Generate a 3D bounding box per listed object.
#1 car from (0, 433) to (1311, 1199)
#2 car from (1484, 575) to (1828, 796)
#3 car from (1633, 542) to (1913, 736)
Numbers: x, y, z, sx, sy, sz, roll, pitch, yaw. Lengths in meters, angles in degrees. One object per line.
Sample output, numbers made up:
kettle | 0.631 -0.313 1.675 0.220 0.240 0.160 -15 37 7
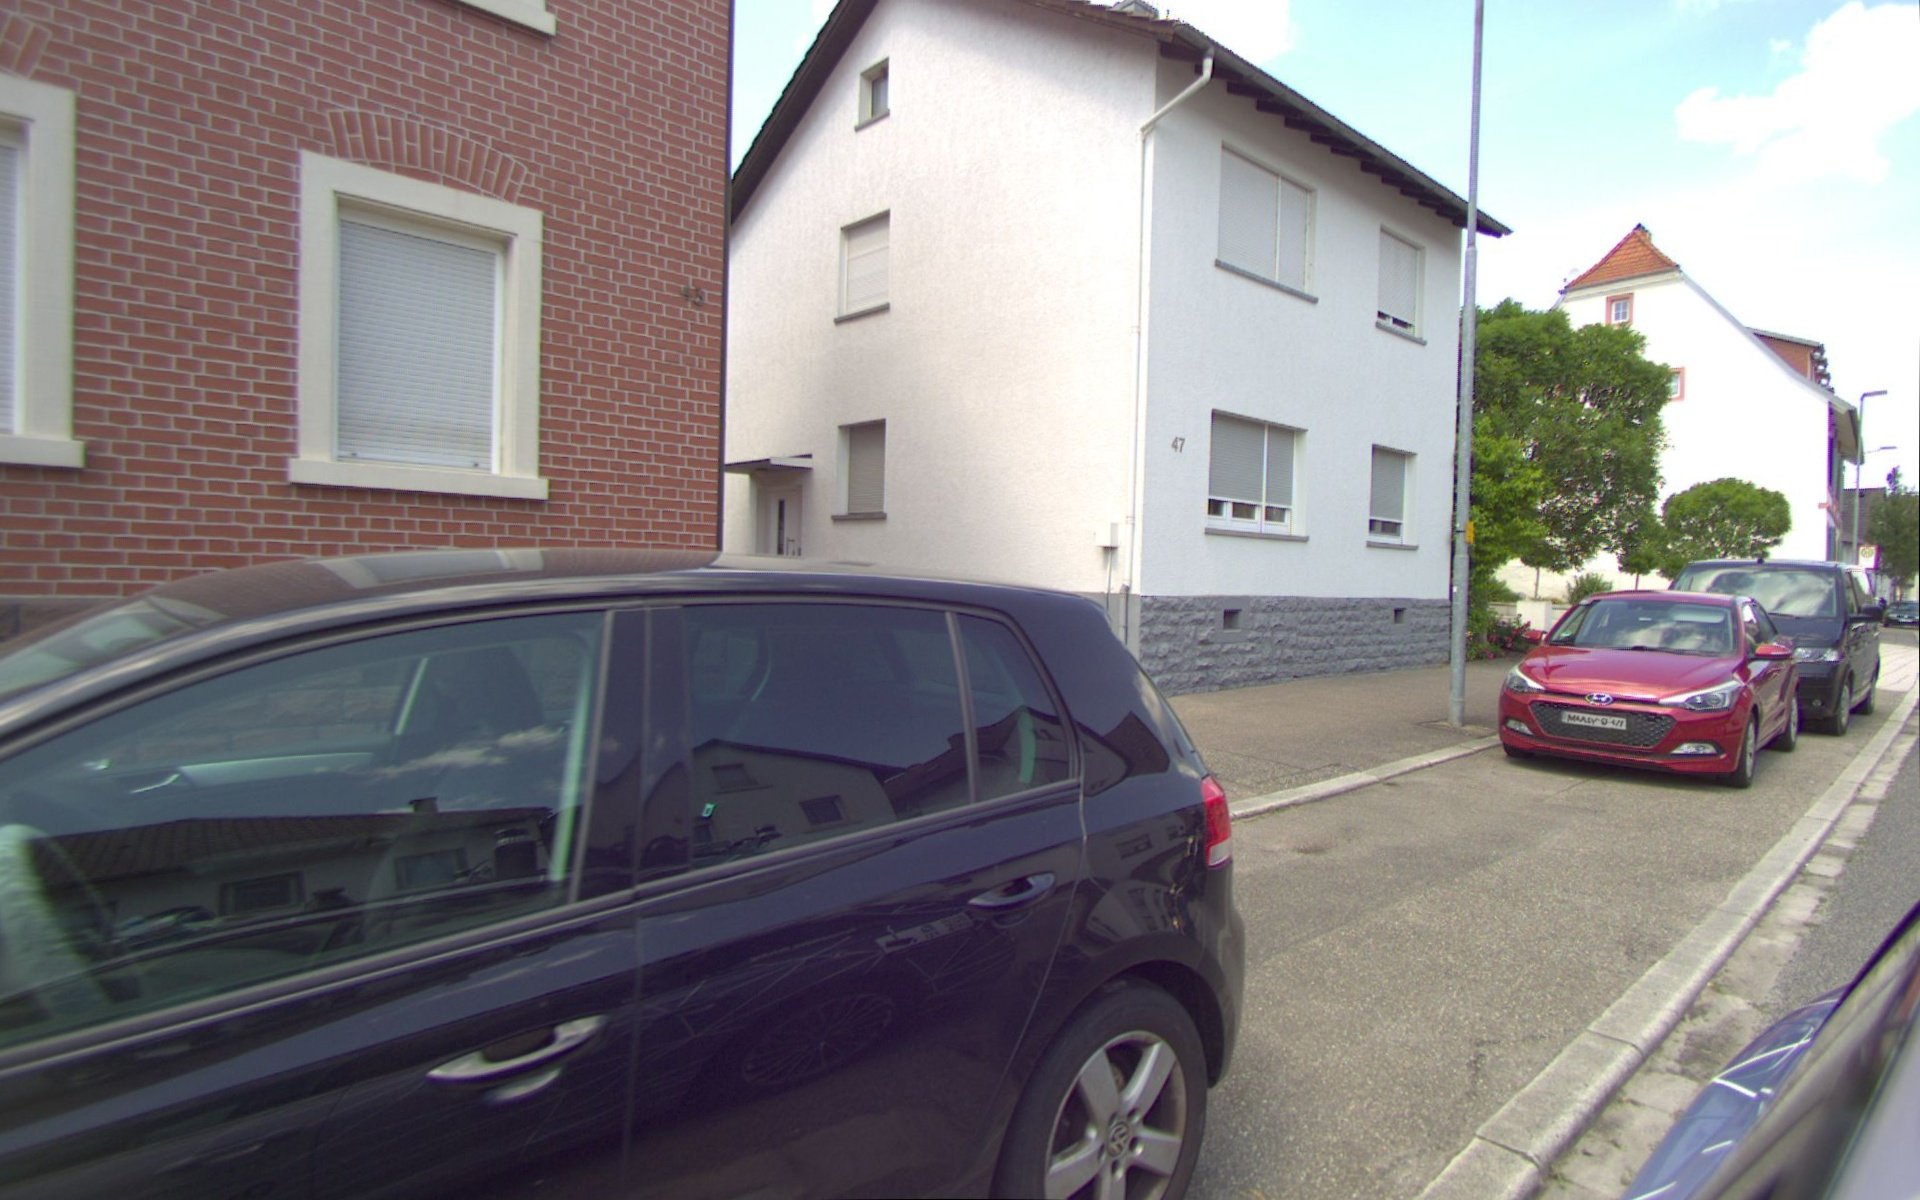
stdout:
car | -1.323 0.554 1.766 3.927 1.548 1.773 3 3 -39
car | 6.512 0.577 9.234 4.483 1.522 1.740 0 2 -44
car | 10.246 0.335 12.574 5.157 1.939 1.928 -1 1 -42
